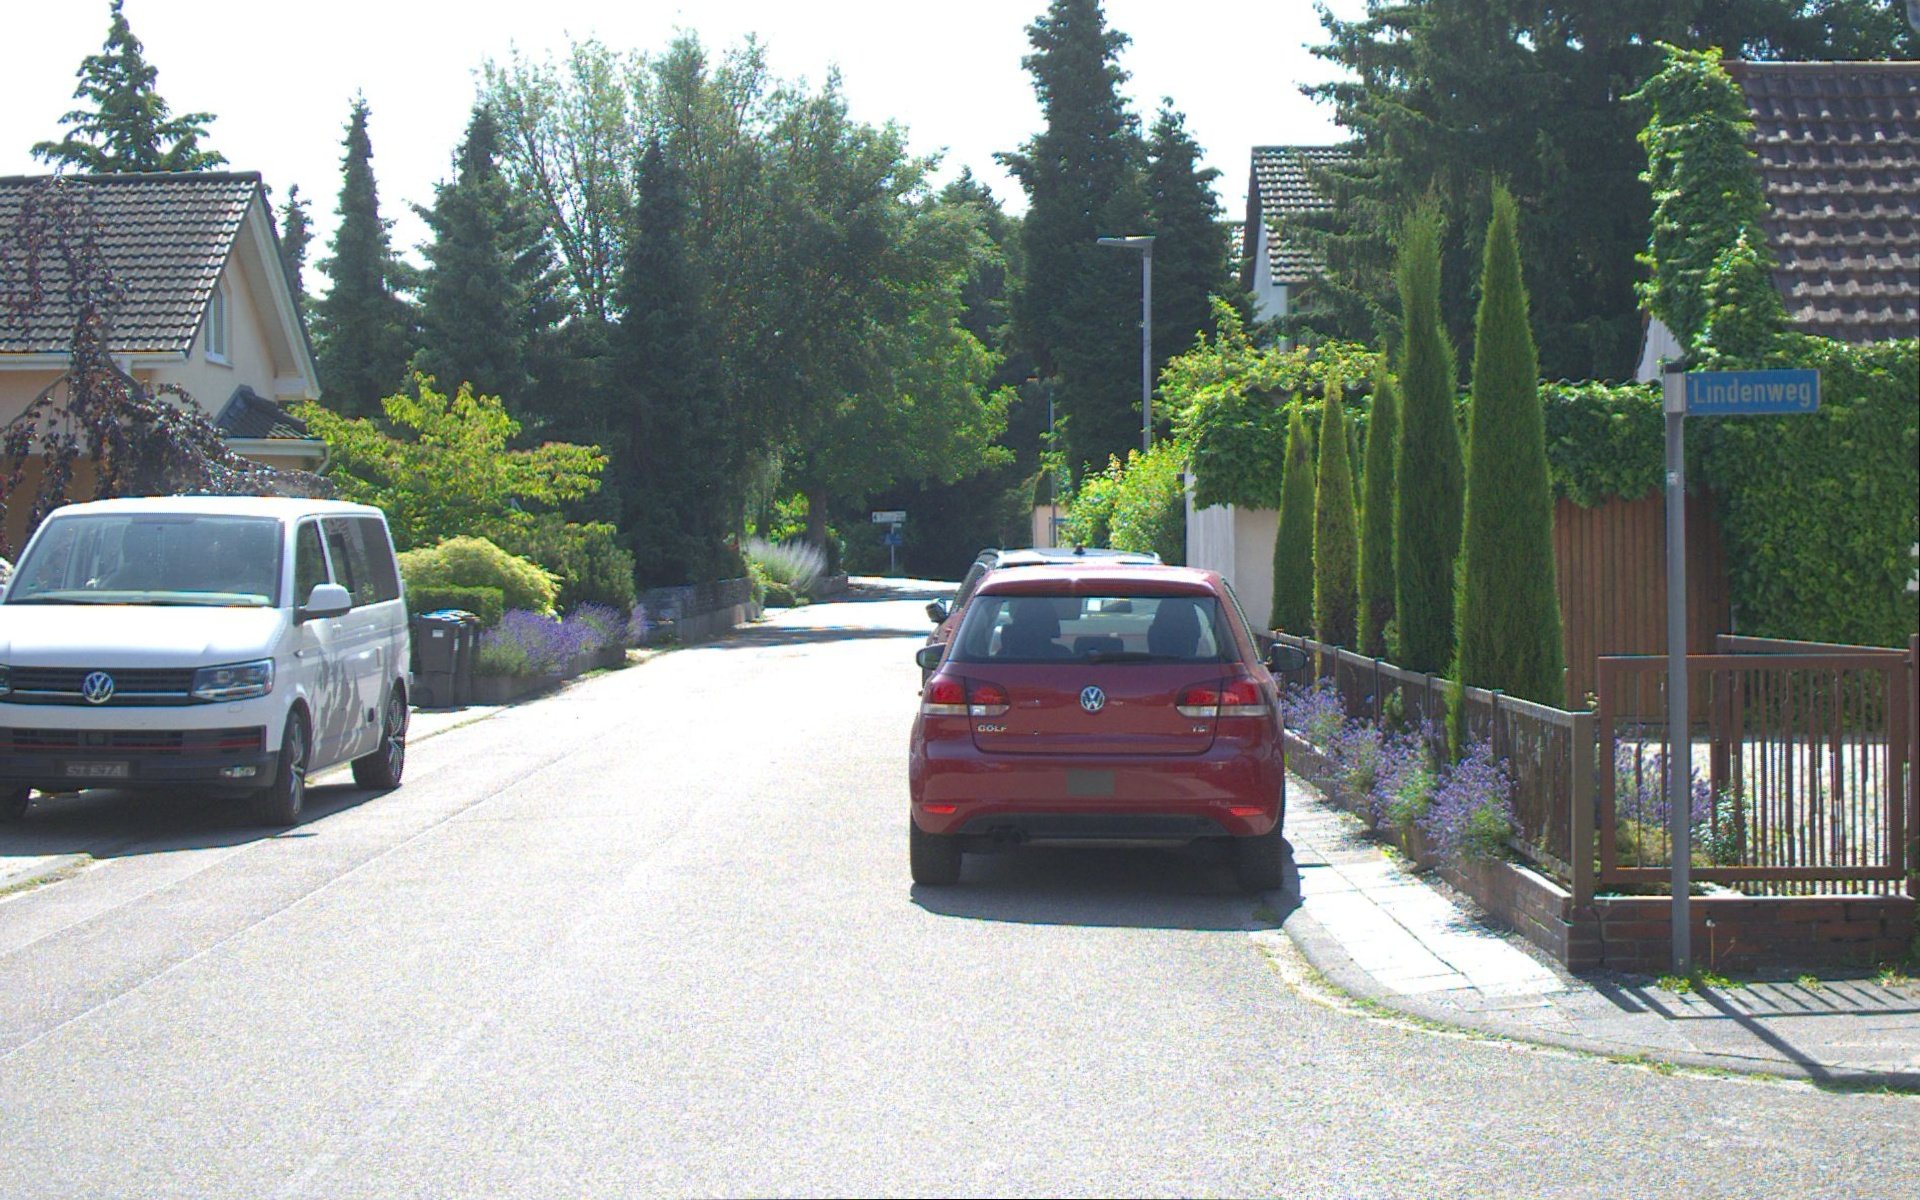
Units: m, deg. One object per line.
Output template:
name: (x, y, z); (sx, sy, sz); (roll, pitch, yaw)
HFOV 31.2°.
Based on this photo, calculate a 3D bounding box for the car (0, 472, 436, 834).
car: (-4.703, 0.267, 21.556); (1.929, 2.007, 4.896); (0, 1, 2)

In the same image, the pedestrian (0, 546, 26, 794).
pedestrian: (-6.305, 0.430, 21.369); (0.718, 1.533, 0.641); (1, 1, 34)

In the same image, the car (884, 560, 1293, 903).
car: (0.691, 0.555, 17.197); (1.775, 1.474, 4.000); (1, 1, 4)

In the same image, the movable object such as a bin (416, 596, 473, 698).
movable object such as a bin: (-5.273, 0.480, 35.160); (0.494, 1.021, 0.447); (-1, 1, 1)

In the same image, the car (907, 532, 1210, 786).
car: (0.599, 0.351, 23.933); (1.822, 1.610, 4.000); (0, 1, -2)

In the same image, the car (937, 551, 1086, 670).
car: (0.598, 0.097, 42.421); (1.702, 1.395, 4.000); (0, 1, -1)

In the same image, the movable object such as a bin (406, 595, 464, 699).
movable object such as a bin: (-5.294, 0.472, 34.686); (0.494, 1.021, 0.447); (-1, 1, 1)
